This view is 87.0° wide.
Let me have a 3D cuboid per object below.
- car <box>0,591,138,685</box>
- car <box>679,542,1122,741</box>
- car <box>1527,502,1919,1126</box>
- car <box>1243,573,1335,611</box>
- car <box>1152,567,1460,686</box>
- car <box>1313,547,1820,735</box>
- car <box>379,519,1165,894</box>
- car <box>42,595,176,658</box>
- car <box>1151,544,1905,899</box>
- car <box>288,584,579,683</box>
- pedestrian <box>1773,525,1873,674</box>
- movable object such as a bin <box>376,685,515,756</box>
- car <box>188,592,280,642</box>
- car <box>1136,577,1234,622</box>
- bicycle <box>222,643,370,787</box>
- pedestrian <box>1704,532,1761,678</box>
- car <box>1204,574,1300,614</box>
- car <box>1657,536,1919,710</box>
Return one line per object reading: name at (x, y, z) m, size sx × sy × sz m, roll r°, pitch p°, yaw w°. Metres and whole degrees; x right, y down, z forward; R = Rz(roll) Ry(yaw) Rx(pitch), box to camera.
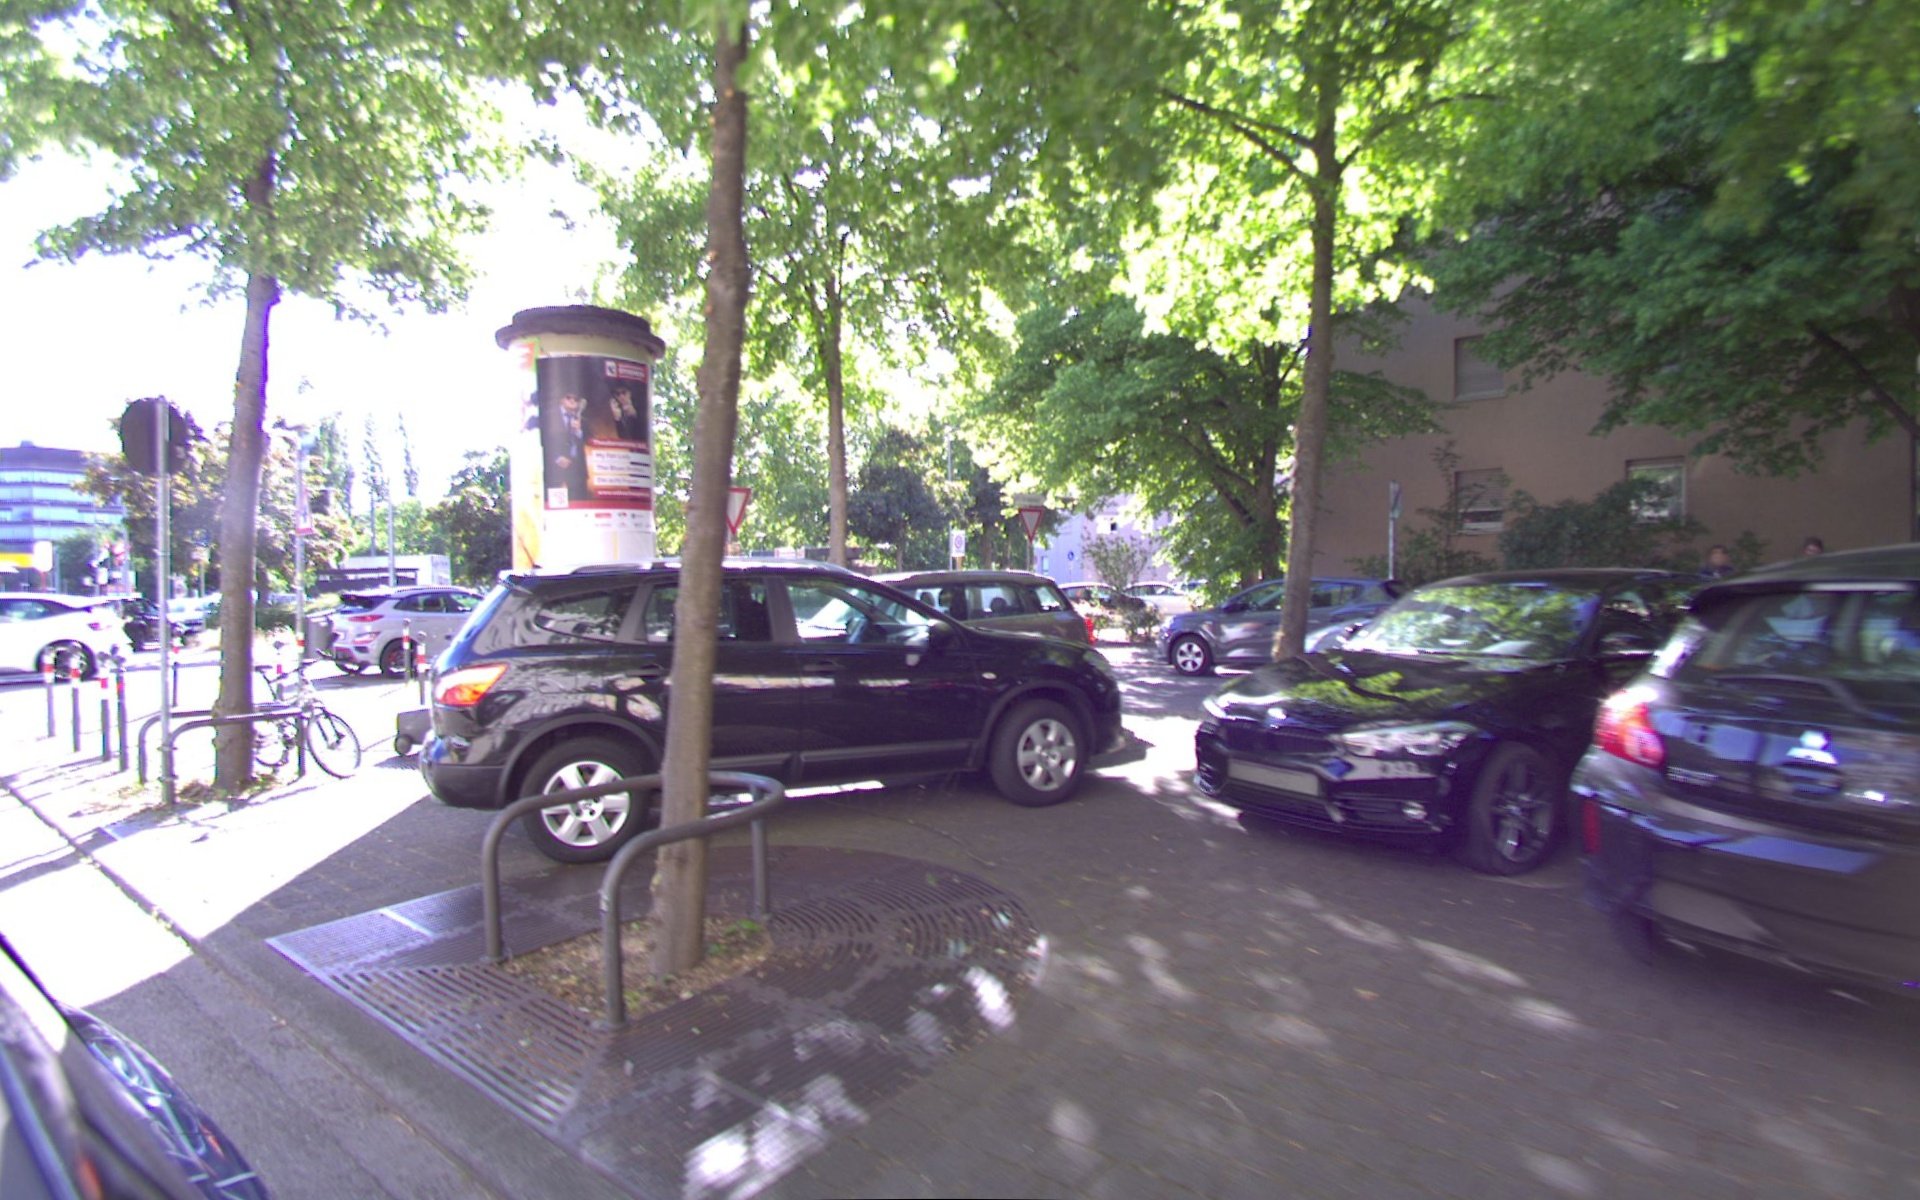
car at (-17.248, 0.673, 17.148) m, size 4.953 × 1.530 × 1.929 m, roll -2°, pitch 1°, yaw -34°
car at (-0.569, 0.308, 10.049) m, size 3.931 × 1.623 × 1.929 m, roll -1°, pitch 0°, yaw -29°
car at (3.981, 0.466, 3.230) m, size 3.757 × 1.492 × 1.767 m, roll -2°, pitch 1°, yaw -21°
car at (13.692, -0.336, 42.278) m, size 3.561 × 1.492 × 1.613 m, roll -1°, pitch 0°, yaw 16°
car at (5.004, 0.329, 14.912) m, size 3.947 × 1.523 × 1.736 m, roll 0°, pitch 1°, yaw 41°
car at (5.708, 0.322, 9.914) m, size 3.939 × 1.497 × 1.739 m, roll -1°, pitch 1°, yaw 34°
car at (-1.073, 0.455, 6.483) m, size 4.262 × 1.684 × 1.843 m, roll -4°, pitch 2°, yaw -20°
car at (-23.124, 0.658, 27.648) m, size 1.655 × 1.519 × 3.608 m, roll -3°, pitch 2°, yaw -21°
car at (3.248, 0.445, 5.777) m, size 3.881 × 1.432 × 1.828 m, roll -2°, pitch 1°, yaw -25°
car at (-9.615, 0.527, 18.835) m, size 1.901 × 1.564 × 4.433 m, roll -1°, pitch 1°, yaw 34°
pedestrian at (10.525, -0.013, 12.356) m, size 0.530 × 1.748 × 0.744 m, roll -1°, pitch 0°, yaw -16°
movable object such as a bin at (-4.873, 1.127, 9.591) m, size 1.105 × 0.569 × 0.574 m, roll -1°, pitch 1°, yaw 20°
car at (-24.839, 0.550, 34.762) m, size 1.769 × 1.592 × 4.013 m, roll -1°, pitch 0°, yaw -24°
car at (7.820, -0.025, 35.091) m, size 3.228 × 1.492 × 1.613 m, roll -1°, pitch 0°, yaw 16°
bicycle at (-5.552, 0.918, 8.437) m, size 1.586 × 1.080 × 0.350 m, roll -1°, pitch 1°, yaw 30°
pedestrian at (9.608, 0.057, 12.603) m, size 0.539 × 1.748 × 0.733 m, roll -1°, pitch 1°, yaw 36°
car at (11.563, -0.232, 40.178) m, size 3.561 × 1.492 × 1.613 m, roll -1°, pitch 0°, yaw 16°
car at (9.733, 0.198, 10.284) m, size 4.242 × 1.652 × 1.737 m, roll -1°, pitch 1°, yaw 39°
